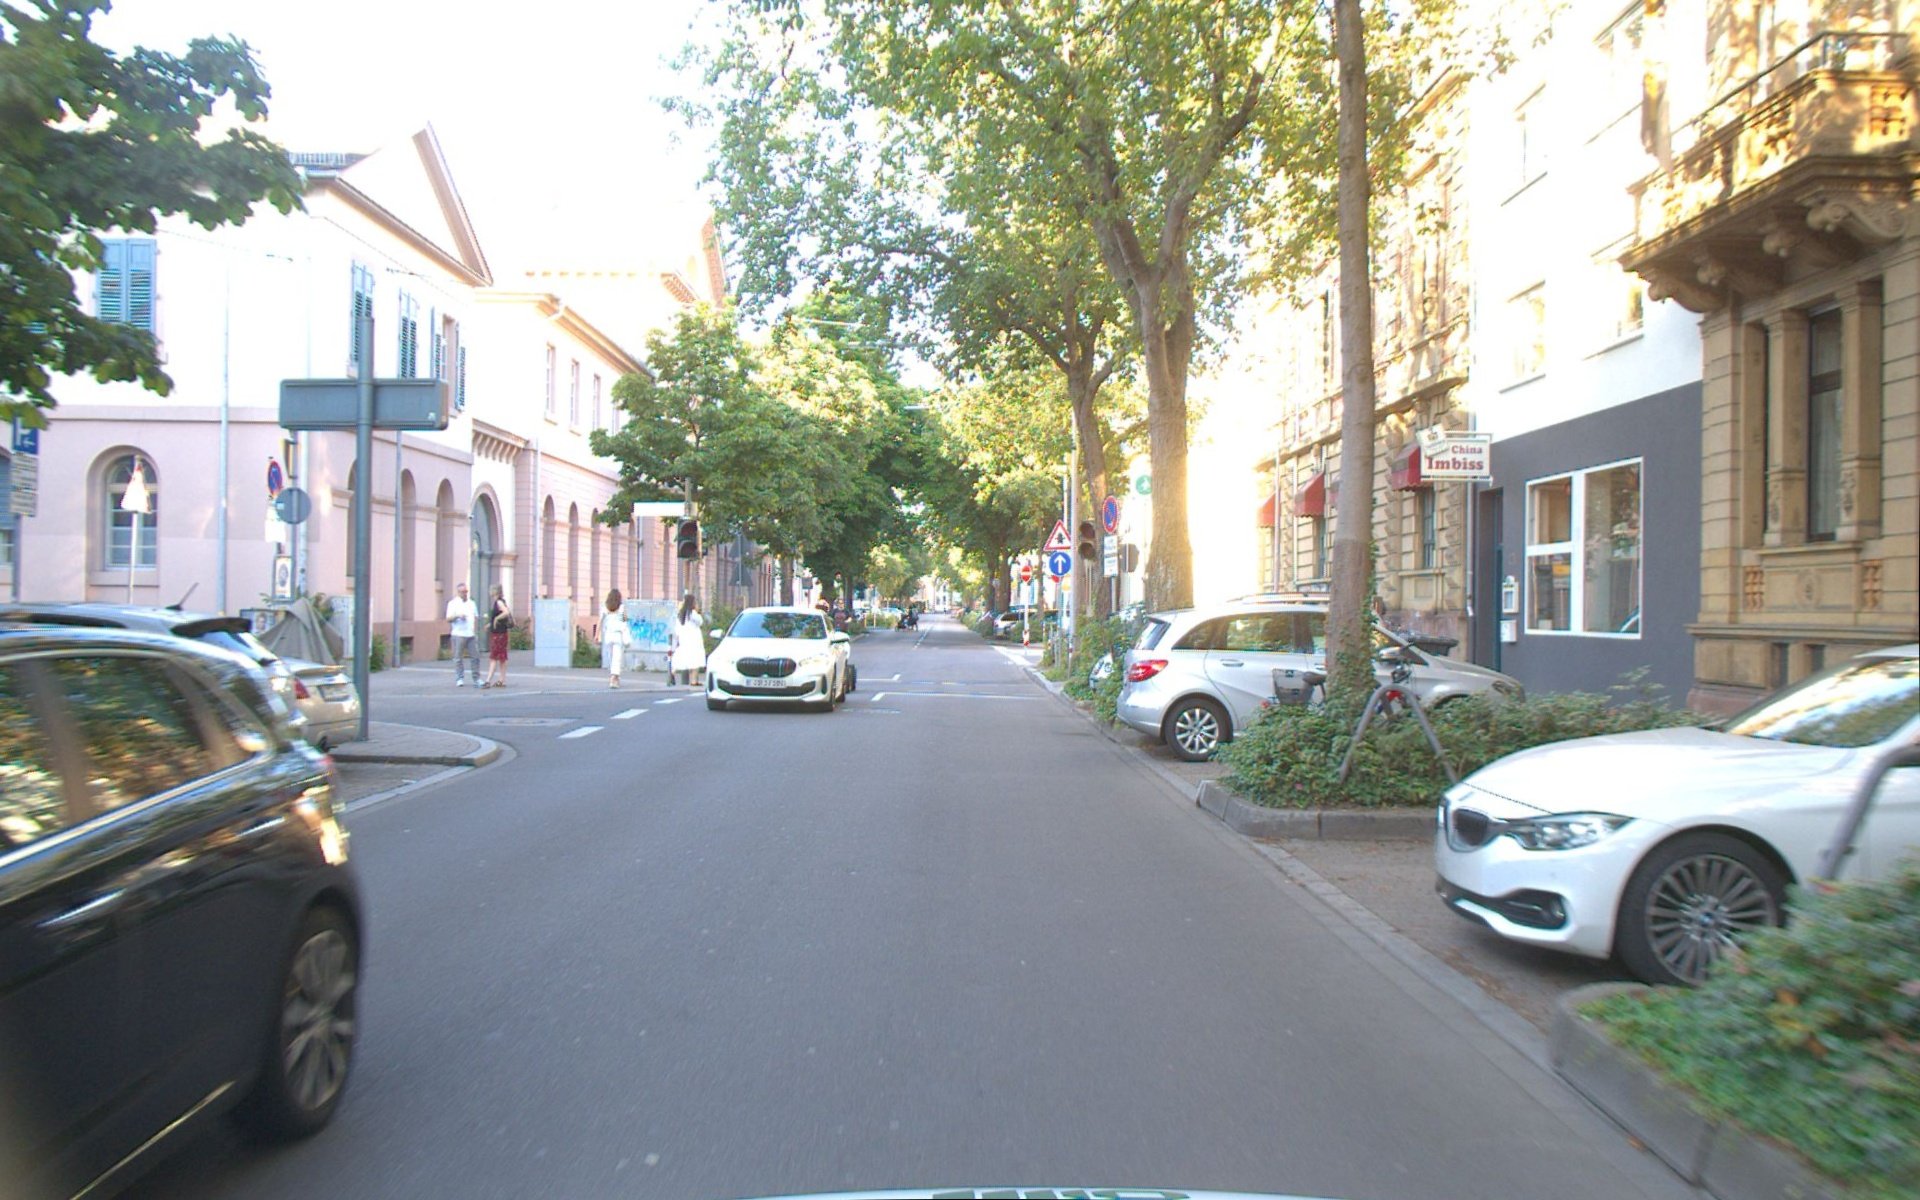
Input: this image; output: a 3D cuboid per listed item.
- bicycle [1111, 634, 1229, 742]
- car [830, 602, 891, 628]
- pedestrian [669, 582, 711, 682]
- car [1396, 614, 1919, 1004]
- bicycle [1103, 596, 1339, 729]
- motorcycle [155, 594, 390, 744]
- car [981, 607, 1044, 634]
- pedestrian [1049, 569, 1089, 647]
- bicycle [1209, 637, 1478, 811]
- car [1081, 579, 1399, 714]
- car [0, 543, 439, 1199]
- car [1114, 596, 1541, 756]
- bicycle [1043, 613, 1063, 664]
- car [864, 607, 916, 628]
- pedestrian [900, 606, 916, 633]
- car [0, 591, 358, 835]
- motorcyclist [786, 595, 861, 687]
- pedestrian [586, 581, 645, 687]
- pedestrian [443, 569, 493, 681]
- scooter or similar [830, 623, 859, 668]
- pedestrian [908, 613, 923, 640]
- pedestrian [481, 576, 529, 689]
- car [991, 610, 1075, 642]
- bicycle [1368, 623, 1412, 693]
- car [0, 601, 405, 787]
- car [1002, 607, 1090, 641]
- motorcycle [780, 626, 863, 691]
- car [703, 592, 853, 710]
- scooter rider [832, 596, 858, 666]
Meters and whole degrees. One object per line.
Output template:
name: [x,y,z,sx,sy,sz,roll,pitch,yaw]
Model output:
bicycle: [2.446,1.019,19.321,1.310,1.225,0.488,-1,-1,-1]
car: [-8.281,1.229,137.454,4.961,2.119,2.262,0,0,-1]
pedestrian: [-5.264,0.611,32.246,0.755,1.921,0.790,1,-1,-12]
car: [4.392,0.806,7.238,4.488,1.462,1.925,0,0,1]
bicycle: [3.503,0.837,22.277,3.052,1.692,0.658,1,-1,-5]
motorcycle: [-6.955,0.675,16.741,2.104,1.444,0.968,0,-1,21]
car: [3.300,1.282,104.670,3.933,1.651,1.780,0,0,-2]
pedestrian: [3.109,0.239,47.184,1.022,2.184,1.063,2,-1,0]
bicycle: [2.950,0.931,12.737,1.984,1.225,0.487,-1,-1,-13]
car: [4.171,0.678,25.127,4.449,1.948,1.949,0,0,-3]
car: [-2.631,0.692,3.342,1.838,1.576,4.274,0,0,-1]
car: [3.755,0.763,17.509,4.136,1.587,1.971,0,0,2]
bicycle: [2.610,1.079,46.276,0.407,1.396,1.289,0,0,11]
car: [-6.894,1.706,162.908,4.959,2.119,2.263,0,0,1]
pedestrian: [-3.271,1.212,104.547,0.856,1.679,0.655,1,-1,7]
car: [-6.402,0.707,11.590,3.666,1.484,1.734,3,0,-2]
motorcyclist: [-2.465,0.730,29.962,1.254,1.620,1.077,0,-1,-1]
pedestrian: [-6.104,0.596,29.354,0.774,1.822,0.771,3,0,2]
pedestrian: [-8.385,0.417,28.174,0.542,1.883,0.612,1,-1,14]
scooter or similar: [-3.033,1.183,43.544,0.491,1.165,1.251,0,-1,10]
pedestrian: [-2.814,1.670,105.218,0.856,1.679,0.655,1,-1,7]
pedestrian: [-7.715,0.545,28.046,0.542,1.882,0.612,1,1,14]
car: [3.668,1.318,83.697,4.107,1.506,1.852,-1,0,-1]
bicycle: [7.790,1.030,29.999,0.377,1.232,1.726,0,-1,1]
car: [-6.982,0.755,14.286,3.661,1.334,1.845,3,0,3]
car: [4.052,1.140,78.643,4.025,1.516,1.849,1,1,-2]
motorcycle: [-2.465,1.043,29.796,1.285,1.109,2.396,0,-2,0]
car: [-2.576,0.694,24.336,1.839,1.576,4.273,0,0,-2]
scooter rider: [-3.030,0.811,43.586,0.484,1.823,0.875,0,-1,10]
